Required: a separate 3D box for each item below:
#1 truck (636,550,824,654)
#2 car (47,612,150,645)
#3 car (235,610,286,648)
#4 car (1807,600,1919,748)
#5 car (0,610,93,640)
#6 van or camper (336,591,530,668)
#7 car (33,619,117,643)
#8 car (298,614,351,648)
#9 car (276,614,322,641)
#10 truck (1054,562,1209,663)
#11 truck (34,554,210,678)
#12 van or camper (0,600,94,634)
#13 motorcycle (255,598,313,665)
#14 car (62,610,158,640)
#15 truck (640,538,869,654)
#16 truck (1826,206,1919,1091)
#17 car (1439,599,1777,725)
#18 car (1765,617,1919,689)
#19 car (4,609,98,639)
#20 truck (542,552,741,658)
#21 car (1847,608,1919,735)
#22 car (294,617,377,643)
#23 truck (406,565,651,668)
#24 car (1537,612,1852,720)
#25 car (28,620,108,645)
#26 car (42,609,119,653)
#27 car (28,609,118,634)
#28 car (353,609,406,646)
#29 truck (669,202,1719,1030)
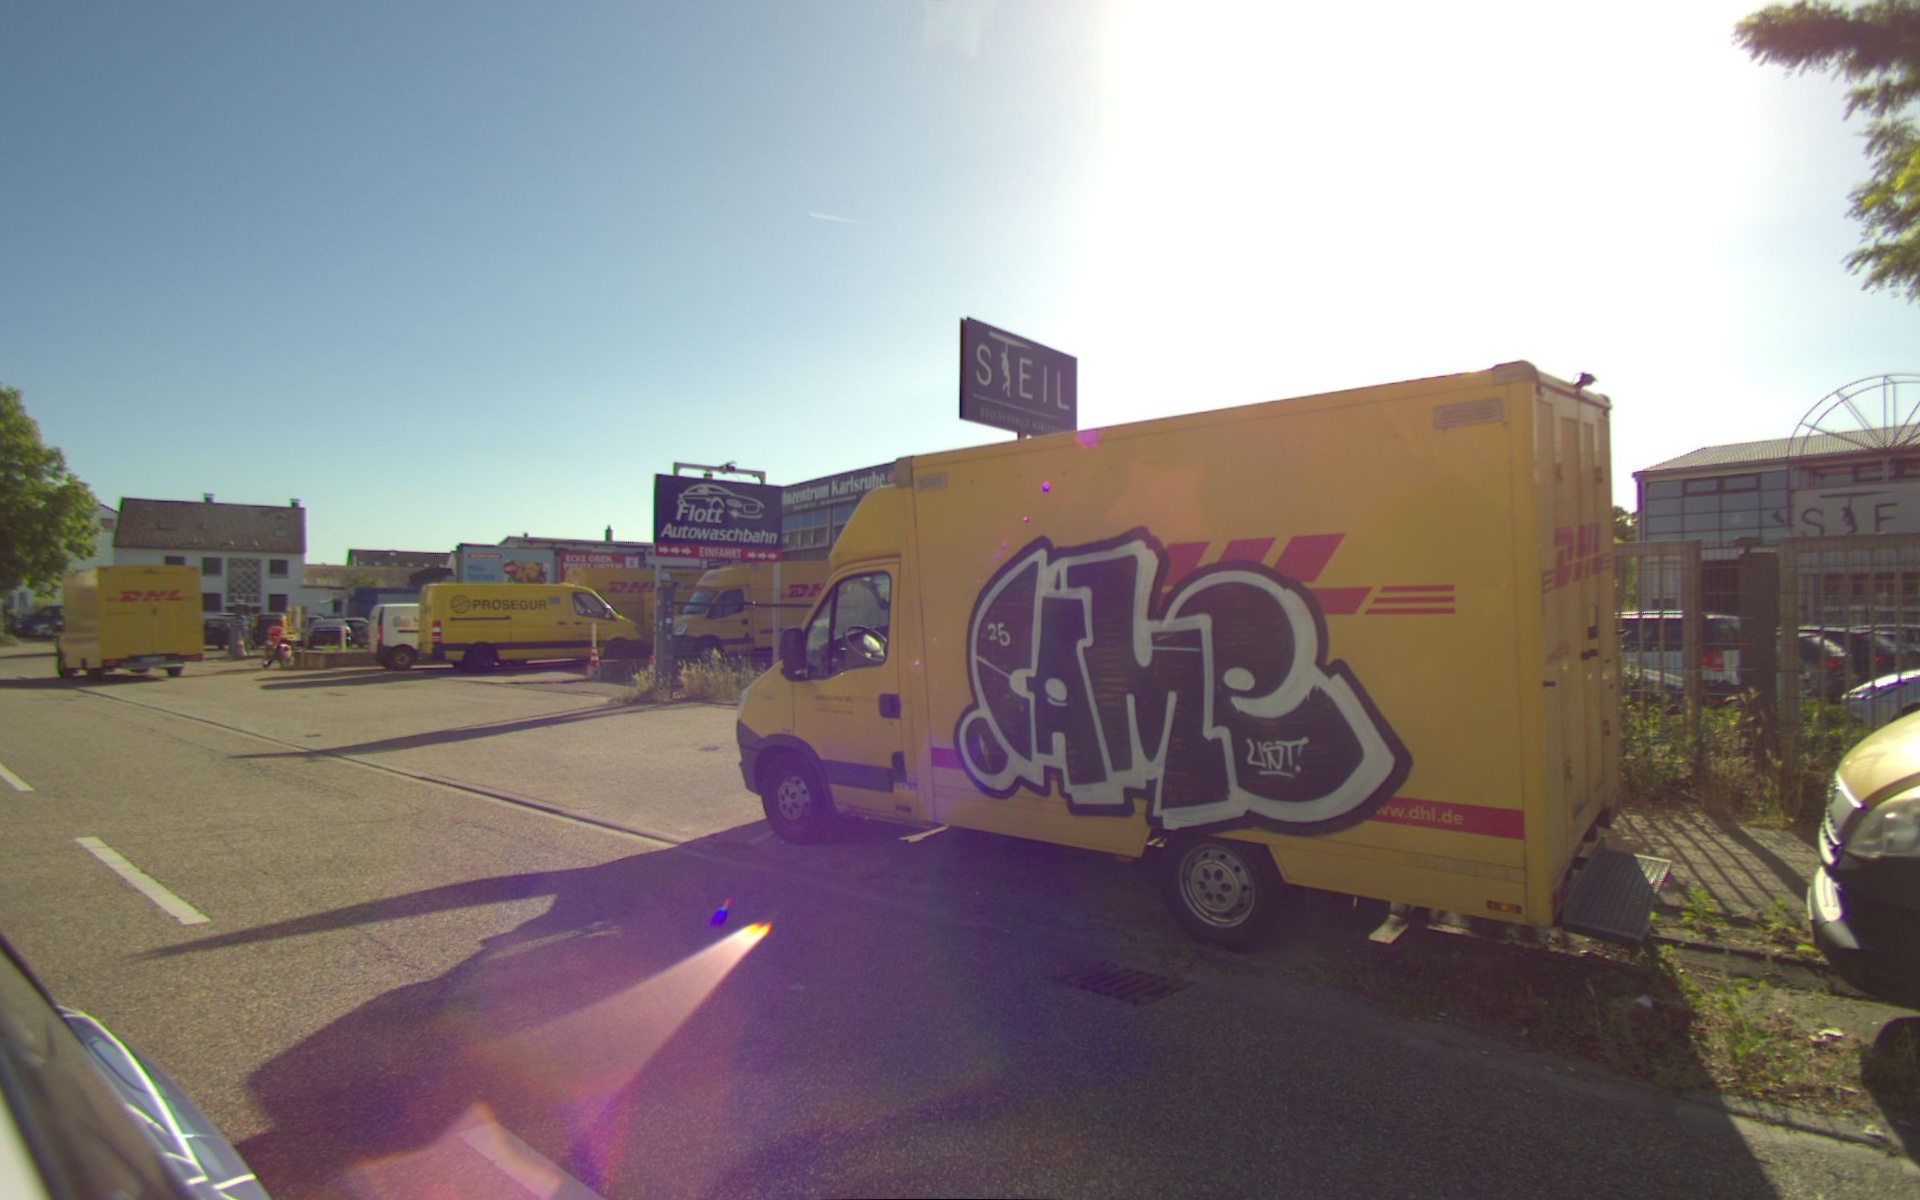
[{"bbox_3d":[-7.092,0.131,31.535,5.264,2.995,2.178,1,-2,-37],"label":"truck"},{"bbox_3d":[-48.336,1.601,56.843,1.765,1.742,4.203,-1,-2,42],"label":"car"},{"bbox_3d":[-34.179,1.437,49.424,1.753,1.762,4.172,1,-3,-38],"label":"car"},{"bbox_3d":[11.606,0.788,10.478,1.671,1.590,4.054,1,-2,-36],"label":"car"},{"bbox_3d":[-55.058,1.504,60.975,4.199,1.742,1.767,2,-2,-44],"label":"car"},{"bbox_3d":[-15.017,0.826,28.985,4.489,2.029,2.253,2,-2,-43],"label":"van or camper"},{"bbox_3d":[-59.839,2.050,68.485,4.199,1.553,1.767,1,-1,-44],"label":"car"},{"bbox_3d":[-31.215,1.553,49.695,1.753,1.557,4.172,1,-3,-38],"label":"car"},{"bbox_3d":[-39.553,1.631,60.561,1.644,1.576,3.852,1,-2,-43],"label":"car"},{"bbox_3d":[5.500,0.414,32.289,4.642,2.959,2.417,1,-1,-39],"label":"truck"},{"bbox_3d":[-23.010,0.408,27.635,7.239,3.005,2.379,-1,0,40],"label":"truck"},{"bbox_3d":[-65.102,1.193,72.261,4.830,2.338,2.248,1,-1,-39],"label":"van or camper"},{"bbox_3d":[-20.355,0.948,30.427,3.041,1.887,0.772,-2,0,44],"label":"motorcycle"},{"bbox_3d":[-51.377,1.494,61.193,1.765,1.742,4.204,-1,-2,41],"label":"car"},{"bbox_3d":[-5.727,-0.044,28.780,6.011,2.995,2.178,1,-2,-37],"label":"truck"},{"bbox_3d":[6.114,0.107,2.148,6.436,2.924,2.169,-1,0,42],"label":"truck"},{"bbox_3d":[9.814,0.874,15.625,1.671,1.674,4.054,1,-2,-36],"label":"car"},{"bbox_3d":[20.098,1.130,22.142,3.766,1.506,1.572,-1,-2,44],"label":"car"},{"bbox_3d":[-56.243,1.486,62.642,1.766,1.766,4.201,-1,-2,44],"label":"car"},{"bbox_3d":[-10.261,0.136,32.808,5.596,3.143,2.528,-1,0,-38],"label":"truck"},{"bbox_3d":[13.470,0.887,12.076,1.671,1.590,4.054,1,-2,-36],"label":"car"},{"bbox_3d":[-35.928,1.706,58.279,3.934,1.461,1.673,1,0,-36],"label":"car"},{"bbox_3d":[-11.806,0.400,27.961,5.845,2.587,2.228,-1,-1,-38],"label":"truck"},{"bbox_3d":[12.119,1.011,16.931,1.671,1.590,3.927,1,-2,-36],"label":"car"},{"bbox_3d":[-58.736,2.124,66.661,1.547,1.553,3.766,-1,-1,40],"label":"car"},{"bbox_3d":[-37.944,1.317,43.624,4.273,1.727,1.843,-1,1,40],"label":"car"},{"bbox_3d":[-57.819,1.366,66.031,1.764,1.598,4.206,-1,-1,39],"label":"car"},{"bbox_3d":[-29.564,1.426,51.511,1.753,1.762,4.172,1,-3,-38],"label":"car"},{"bbox_3d":[0.927,0.074,6.679,6.370,3.005,2.378,-1,0,41],"label":"truck"}]
